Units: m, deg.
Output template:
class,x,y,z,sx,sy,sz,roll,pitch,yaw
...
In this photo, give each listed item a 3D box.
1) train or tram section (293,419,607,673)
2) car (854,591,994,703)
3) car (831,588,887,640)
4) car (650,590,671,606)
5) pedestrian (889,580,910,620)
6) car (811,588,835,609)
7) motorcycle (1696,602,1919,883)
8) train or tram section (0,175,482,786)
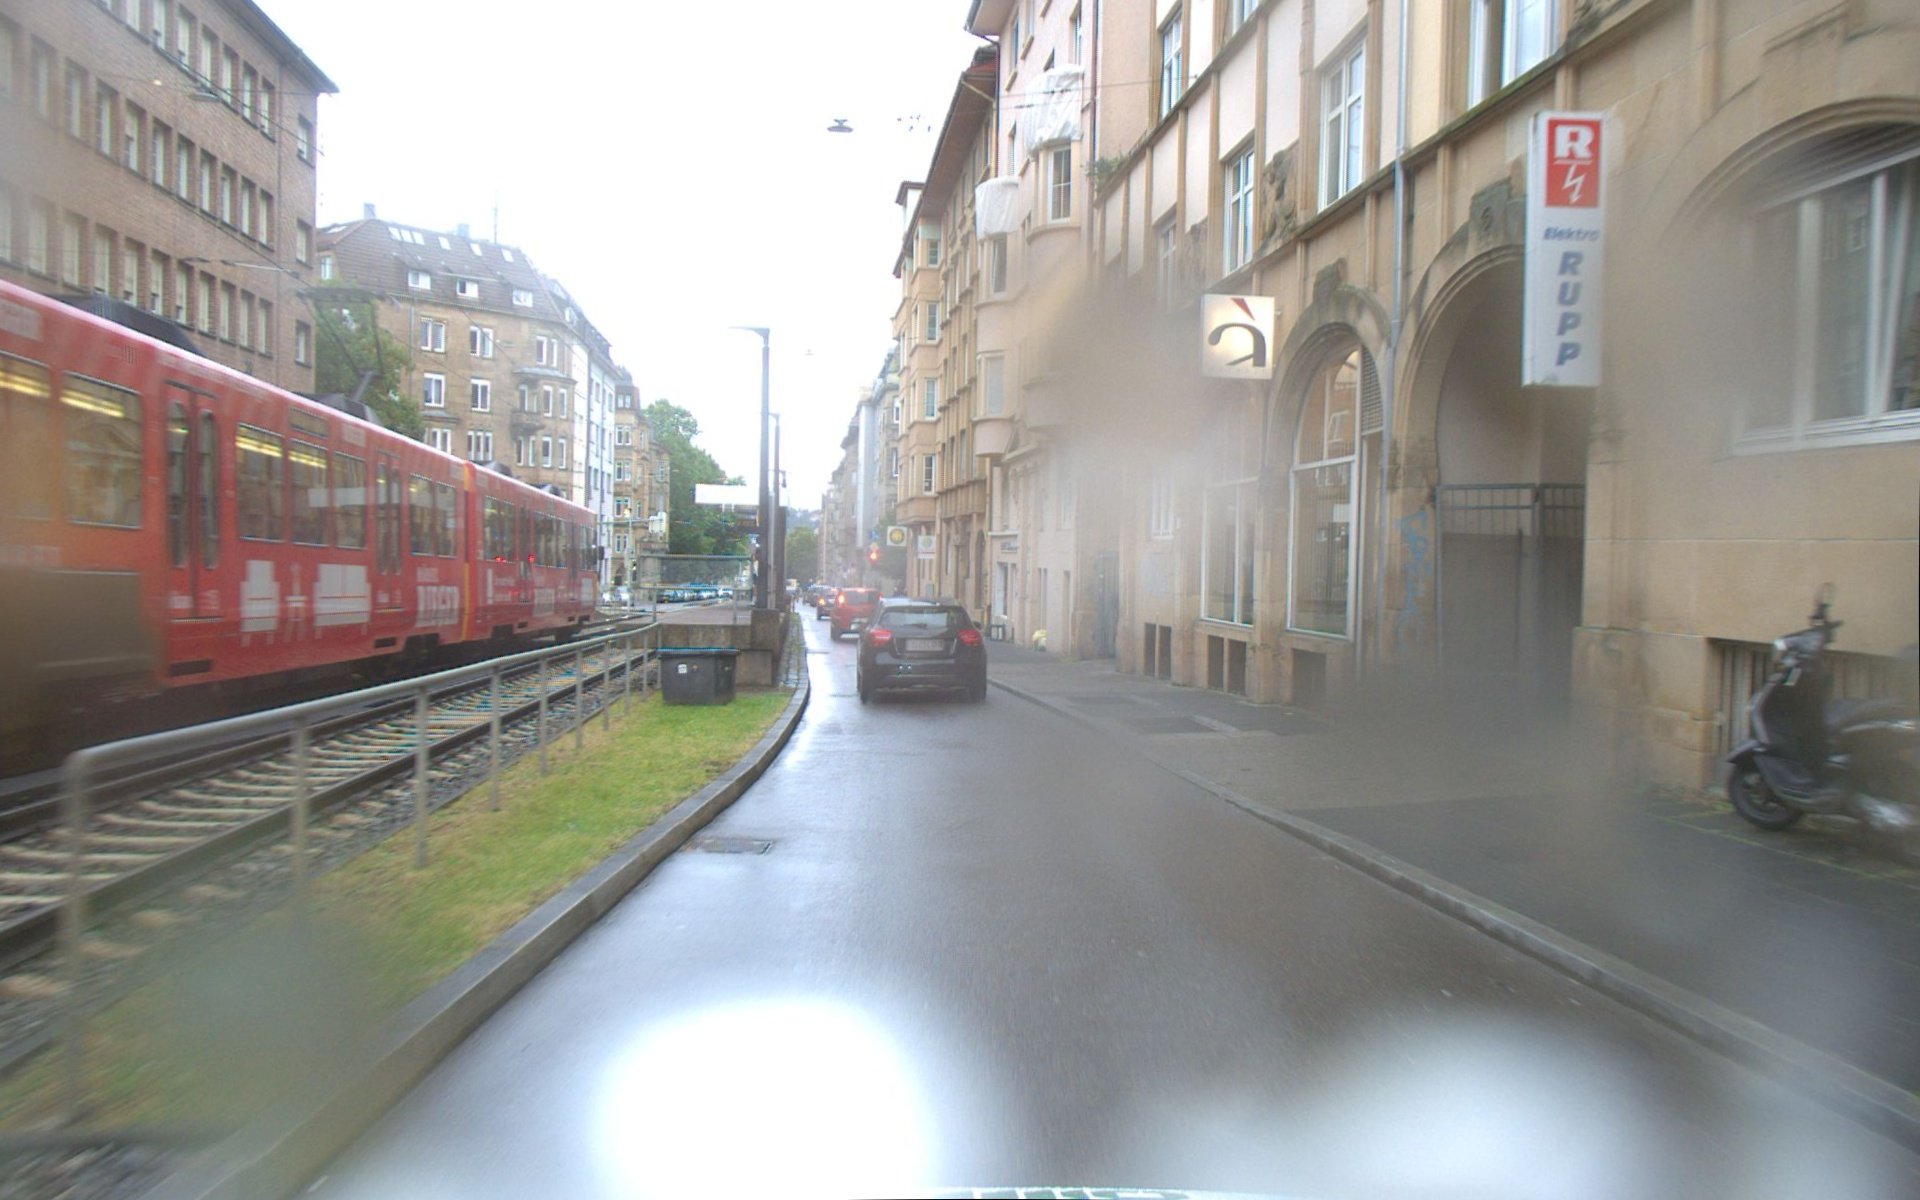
class,x,y,z,sx,sy,sz,roll,pitch,yaw
train or tram section,-10.178,-0.855,36.092,2.662,3.989,19.837,1,0,-6
car,-0.605,0.617,24.080,1.830,1.477,3.997,1,0,-4
car,-3.071,0.397,50.214,1.617,1.477,3.997,1,0,-4
car,-30.606,-0.212,169.118,1.688,1.568,3.930,-1,0,-4
pedestrian,-2.861,0.001,78.507,0.882,1.872,0.967,-3,0,-4
car,-10.771,-0.135,129.856,1.731,1.586,4.740,-1,0,-6
motorcycle,4.737,0.677,8.752,0.677,1.258,1.777,-5,1,-5
train or tram section,-8.341,-0.798,17.856,2.662,3.989,19.273,1,0,-6
